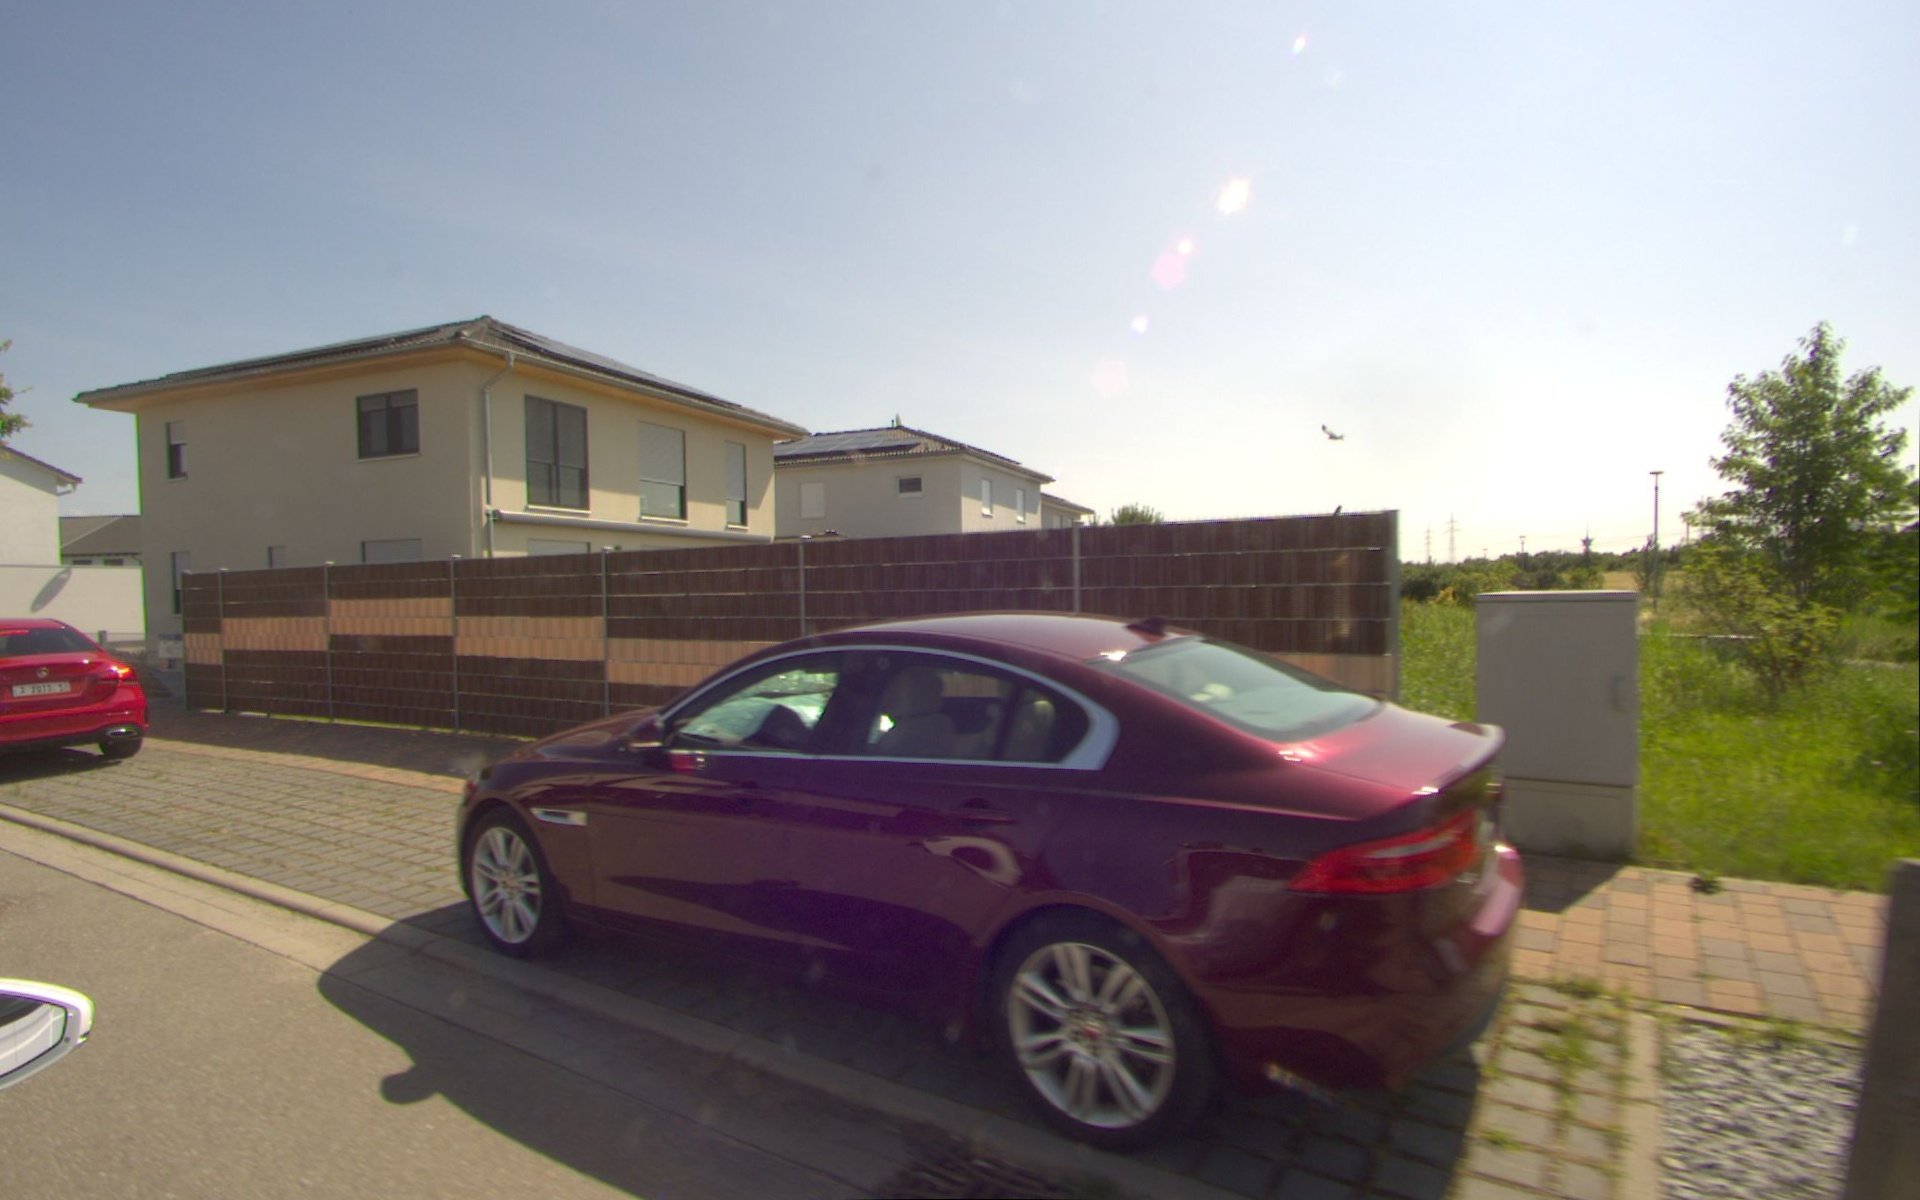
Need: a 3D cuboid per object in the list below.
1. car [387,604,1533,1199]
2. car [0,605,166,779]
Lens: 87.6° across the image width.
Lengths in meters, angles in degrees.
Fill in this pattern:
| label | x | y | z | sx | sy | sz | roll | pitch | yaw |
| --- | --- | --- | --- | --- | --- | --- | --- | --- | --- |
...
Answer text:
| label | x | y | z | sx | sy | sz | roll | pitch | yaw |
| --- | --- | --- | --- | --- | --- | --- | --- | --- | --- |
| car | -0.297 | 0.737 | 4.114 | 4.512 | 1.381 | 1.749 | 0 | 1 | 34 |
| car | -10.036 | 0.827 | 10.081 | 4.454 | 1.457 | 1.758 | -1 | 2 | 32 |
